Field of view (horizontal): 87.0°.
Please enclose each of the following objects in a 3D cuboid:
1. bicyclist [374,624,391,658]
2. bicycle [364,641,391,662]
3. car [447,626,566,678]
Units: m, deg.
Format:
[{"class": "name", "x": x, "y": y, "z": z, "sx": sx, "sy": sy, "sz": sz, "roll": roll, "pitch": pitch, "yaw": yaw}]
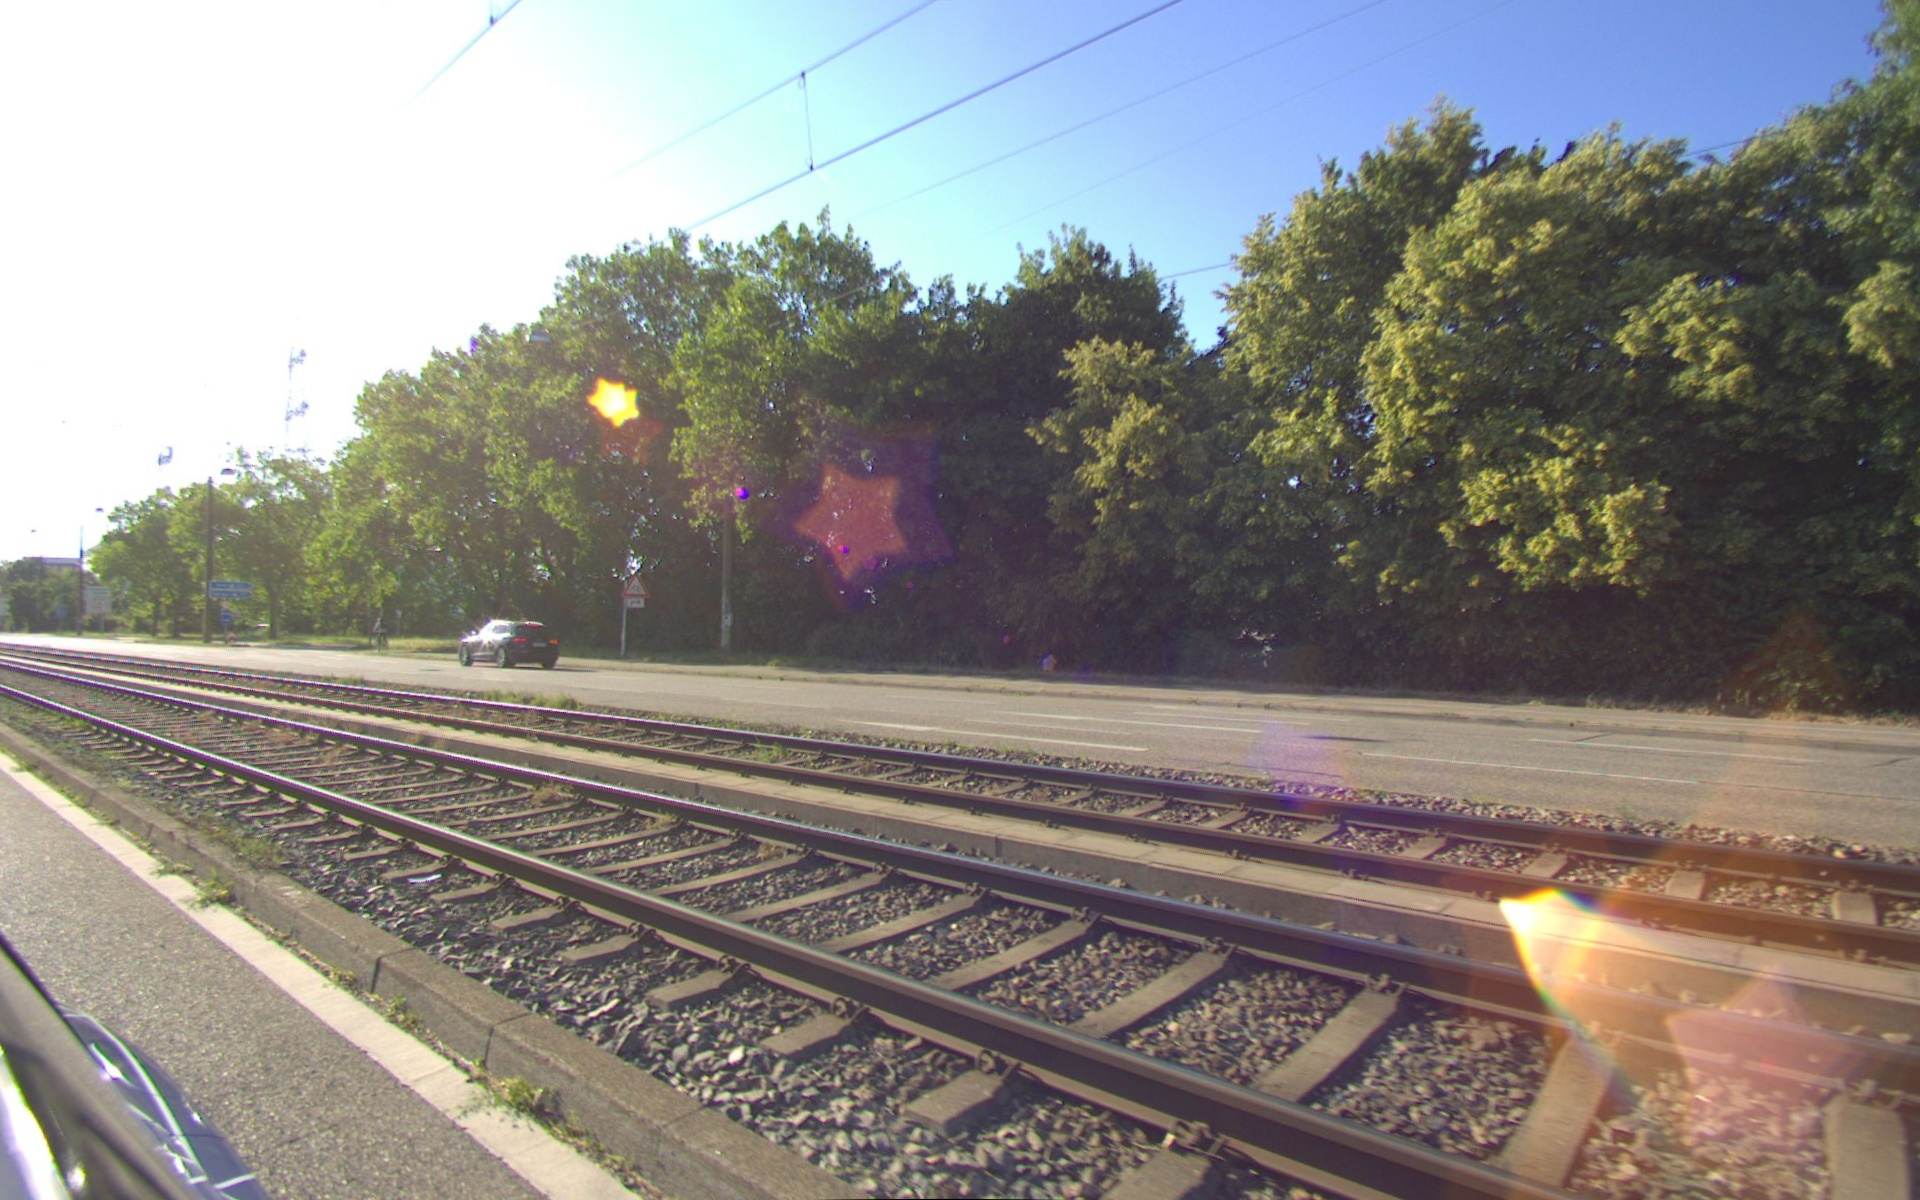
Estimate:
[{"class": "bicyclist", "x": -29.475, "y": 2.063, "z": 51.664, "sx": 0.544, "sy": 1.703, "sz": 0.820, "roll": -1, "pitch": 0, "yaw": -45}, {"class": "bicycle", "x": -29.591, "y": 2.611, "z": 51.435, "sx": 2.238, "sy": 0.993, "sz": 0.544, "roll": -1, "pitch": 0, "yaw": 43}, {"class": "car", "x": -16.163, "y": 1.805, "z": 35.953, "sx": 4.792, "sy": 1.698, "sz": 1.973, "roll": -1, "pitch": -3, "yaw": 40}]
